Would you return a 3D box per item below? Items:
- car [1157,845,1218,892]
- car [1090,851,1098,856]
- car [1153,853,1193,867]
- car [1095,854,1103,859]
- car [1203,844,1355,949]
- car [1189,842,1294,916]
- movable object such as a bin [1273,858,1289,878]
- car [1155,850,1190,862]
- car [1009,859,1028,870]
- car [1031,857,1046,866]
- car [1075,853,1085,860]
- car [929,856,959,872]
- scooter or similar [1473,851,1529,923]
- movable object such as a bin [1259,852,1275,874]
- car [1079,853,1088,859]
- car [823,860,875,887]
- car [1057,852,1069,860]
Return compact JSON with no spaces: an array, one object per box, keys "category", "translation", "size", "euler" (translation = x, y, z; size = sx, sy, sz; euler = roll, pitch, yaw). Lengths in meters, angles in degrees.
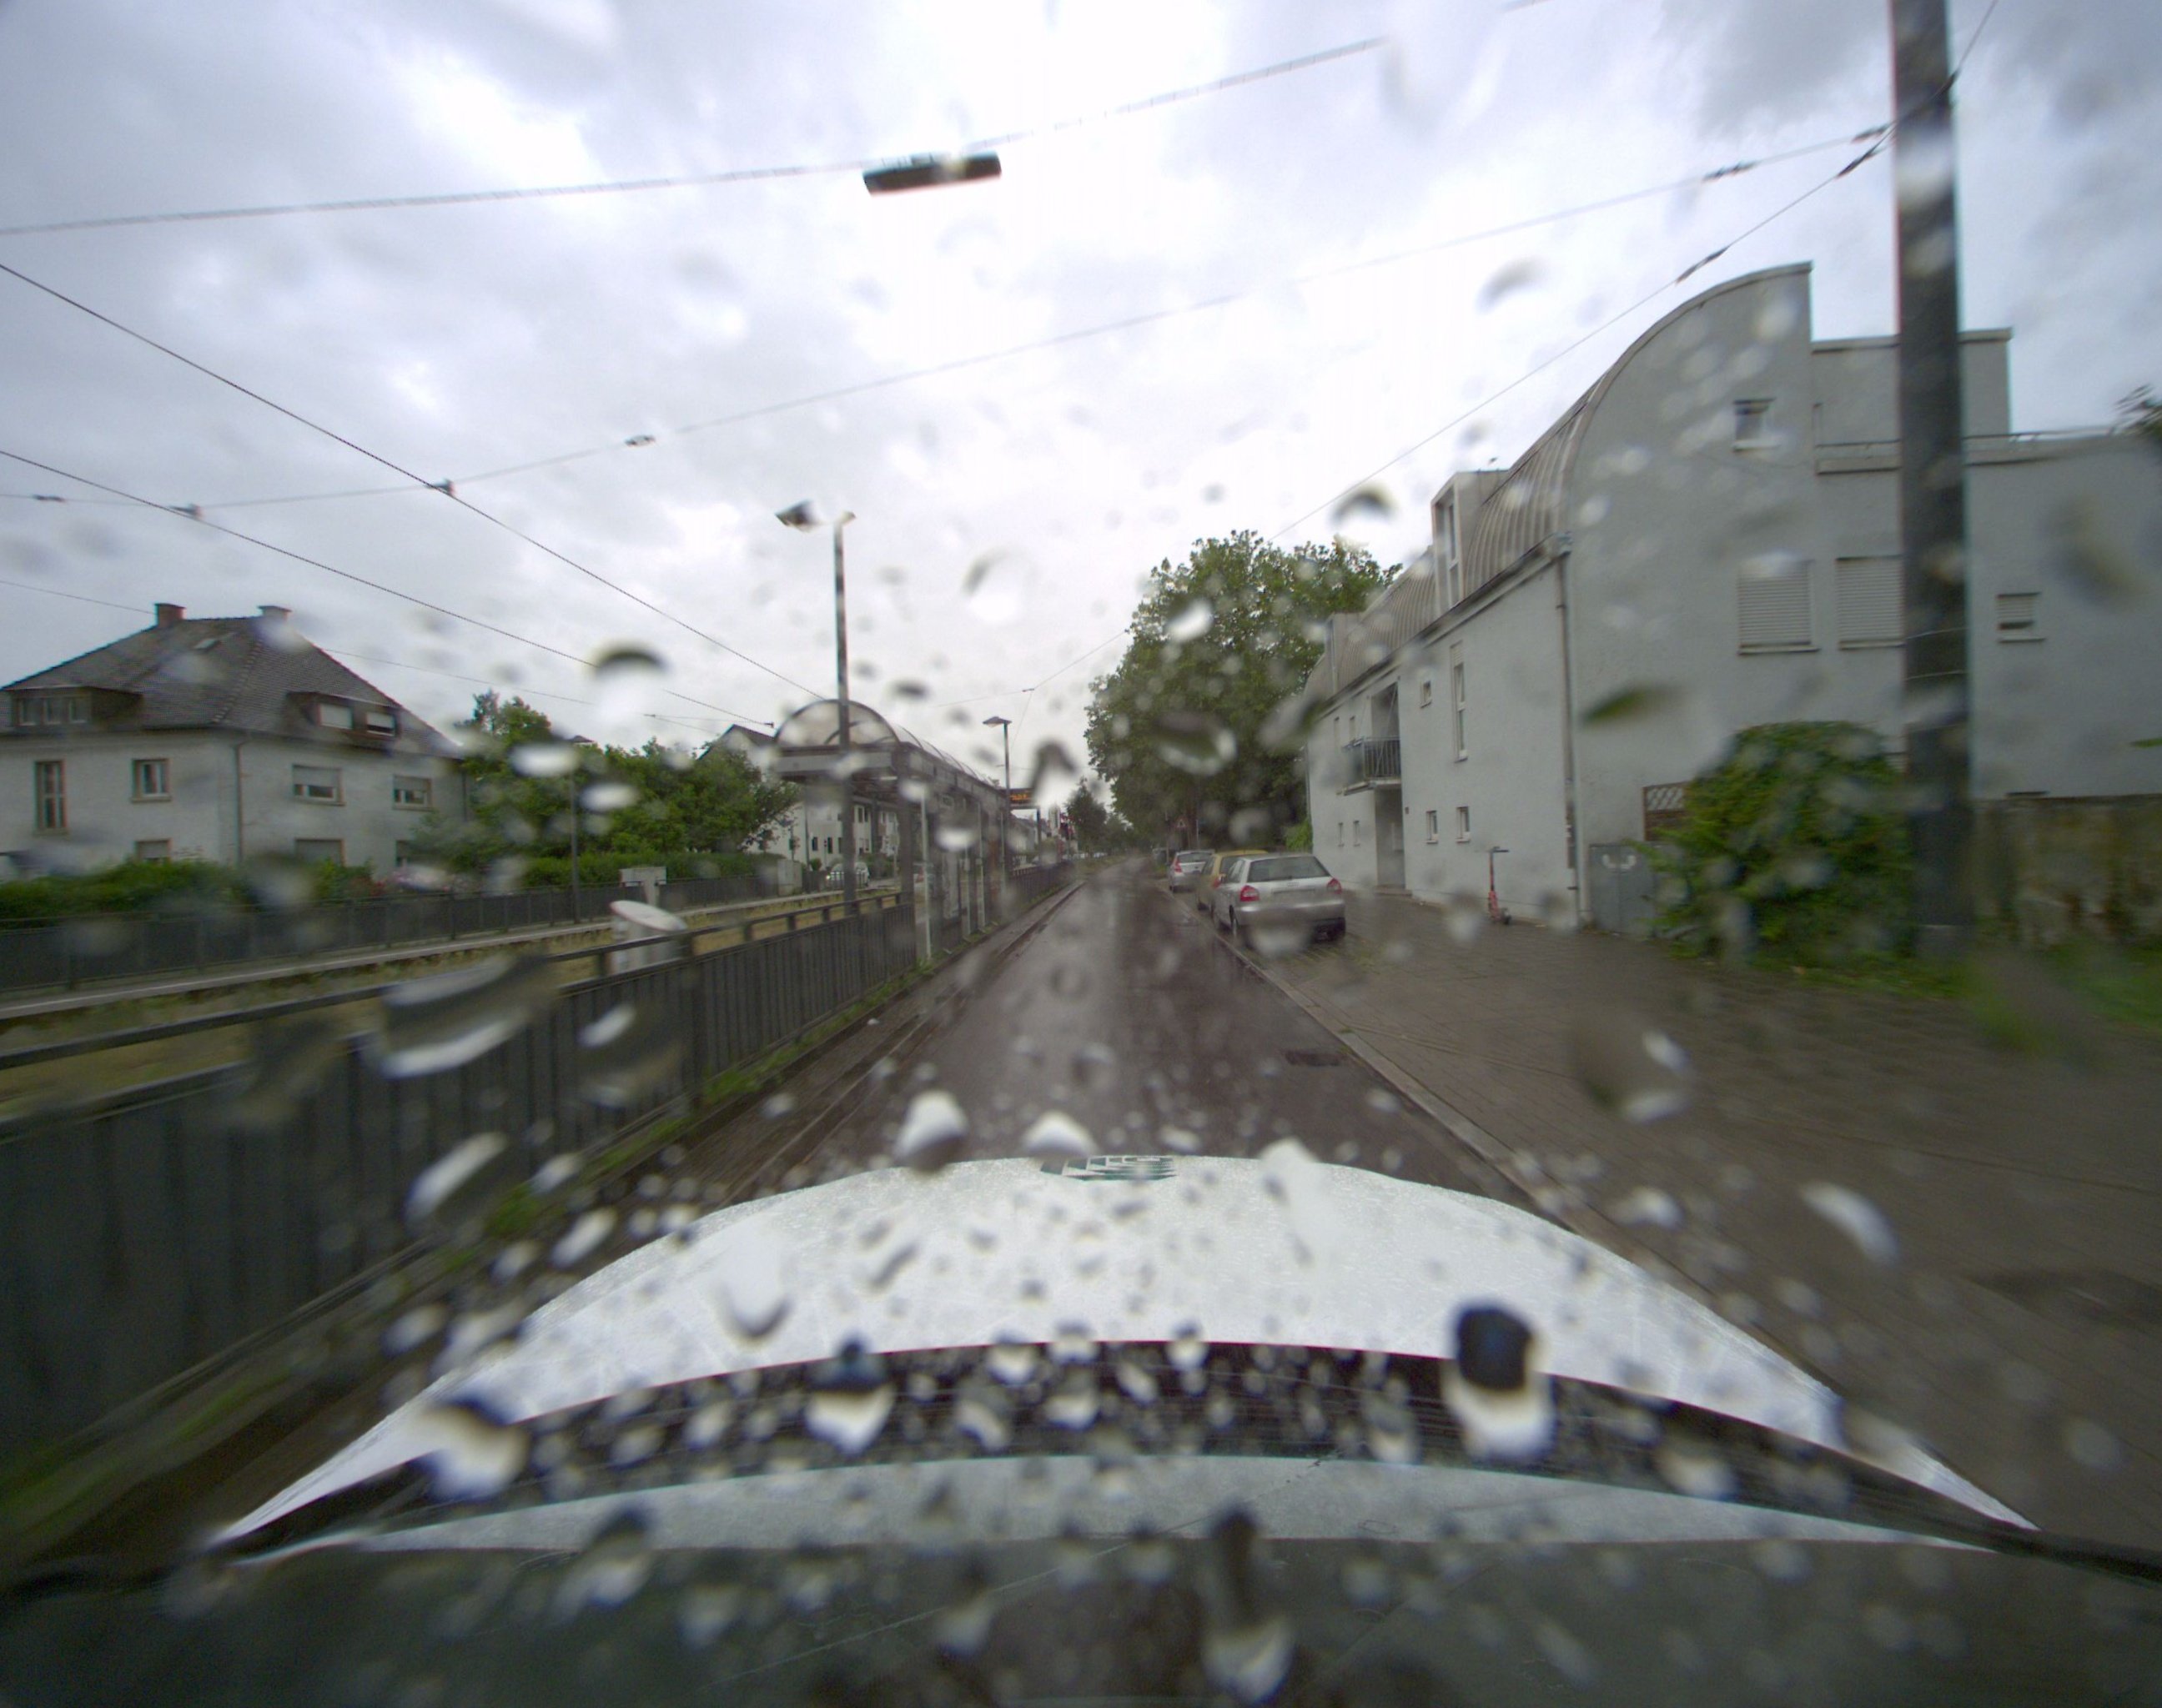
[{"category":"car","translation":[3.862,0.508,30.038],"size":[1.799,1.467,3.796],"euler":[-5,-1,3]},{"category":"car","translation":[3.807,-0.085,231.625],"size":[1.919,1.486,4.006],"euler":[-1,-1,6]},{"category":"car","translation":[10.133,0.614,89.564],"size":[3.990,1.453,1.992],"euler":[-1,-1,-12]},{"category":"car","translation":[5.403,0.787,245.345],"size":[1.919,1.486,4.006],"euler":[-1,-1,6]},{"category":"car","translation":[3.257,0.651,14.319],"size":[1.643,1.405,4.652],"euler":[-5,-1,3]},{"category":"car","translation":[3.644,0.553,19.148],"size":[1.799,1.405,3.796],"euler":[-5,-1,3]},{"category":"movable object such as a bin","translation":[9.496,0.645,38.678],"size":[0.534,0.899,0.739],"euler":[-4,-1,2]},{"category":"car","translation":[11.339,0.252,101.044],"size":[3.990,1.453,1.992],"euler":[-1,-1,-12]},{"category":"car","translation":[-8.776,1.437,113.921],"size":[1.919,1.486,4.006],"euler":[-1,-1,6]},{"category":"car","translation":[-6.933,1.213,133.371],"size":[1.919,1.486,4.006],"euler":[-1,-1,6]},{"category":"car","translation":[-0.324,0.525,189.903],"size":[1.919,1.486,4.006],"euler":[-1,-1,6]},{"category":"car","translation":[-13.294,0.956,79.322],"size":[1.919,1.486,4.006],"euler":[-1,-1,6]},{"category":"scooter or similar","translation":[6.745,0.512,13.127],"size":[0.331,1.085,1.399],"euler":[-1,-1,8]},{"category":"movable object such as a bin","translation":[8.890,0.431,38.907],"size":[0.534,1.022,0.739],"euler":[-4,-1,2]},{"category":"car","translation":[0.620,0.446,201.599],"size":[1.919,1.486,4.006],"euler":[-1,-1,6]},{"category":"car","translation":[-13.333,1.087,47.077],"size":[1.626,1.493,4.003],"euler":[-1,-1,3]},{"category":"car","translation":[-3.774,0.458,167.955],"size":[1.919,1.486,4.006],"euler":[-1,-1,6]}]
